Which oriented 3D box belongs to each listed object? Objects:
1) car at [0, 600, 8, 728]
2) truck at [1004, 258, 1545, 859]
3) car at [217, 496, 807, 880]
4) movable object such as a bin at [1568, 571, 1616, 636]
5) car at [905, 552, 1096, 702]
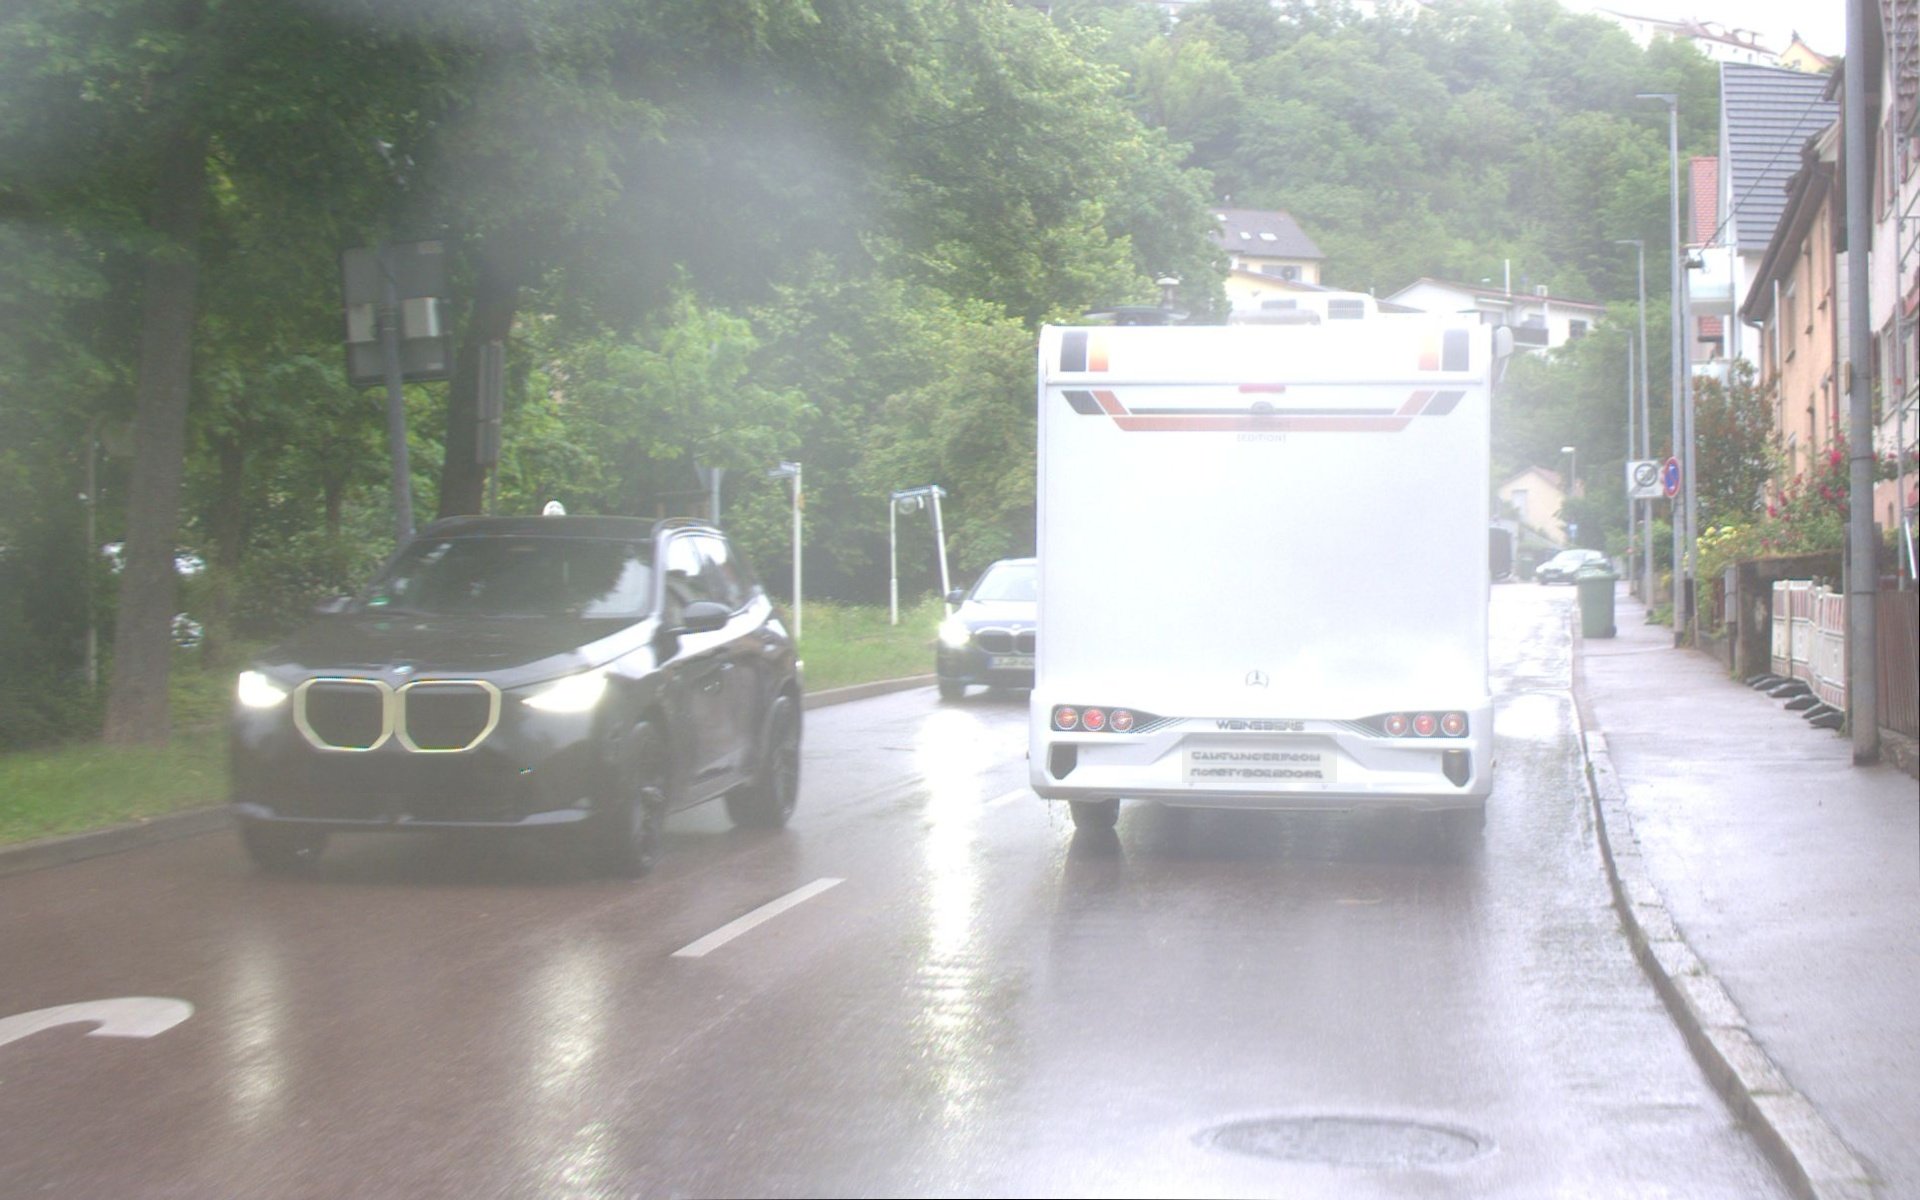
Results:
[{"bbox_3d":[-10.803,0.676,34.118,1.993,1.325,3.448,1,1,-5],"label":"car"},{"bbox_3d":[1.937,-0.250,19.337,2.516,2.808,6.199,1,1,9],"label":"truck"},{"bbox_3d":[-2.019,0.345,16.773,1.888,1.610,4.139,1,1,7],"label":"car"},{"bbox_3d":[10.392,0.059,56.546,0.720,1.048,0.799,1,1,13],"label":"movable object such as a bin"},{"bbox_3d":[0.478,0.234,35.782,1.765,1.436,4.063,1,1,4],"label":"car"}]
